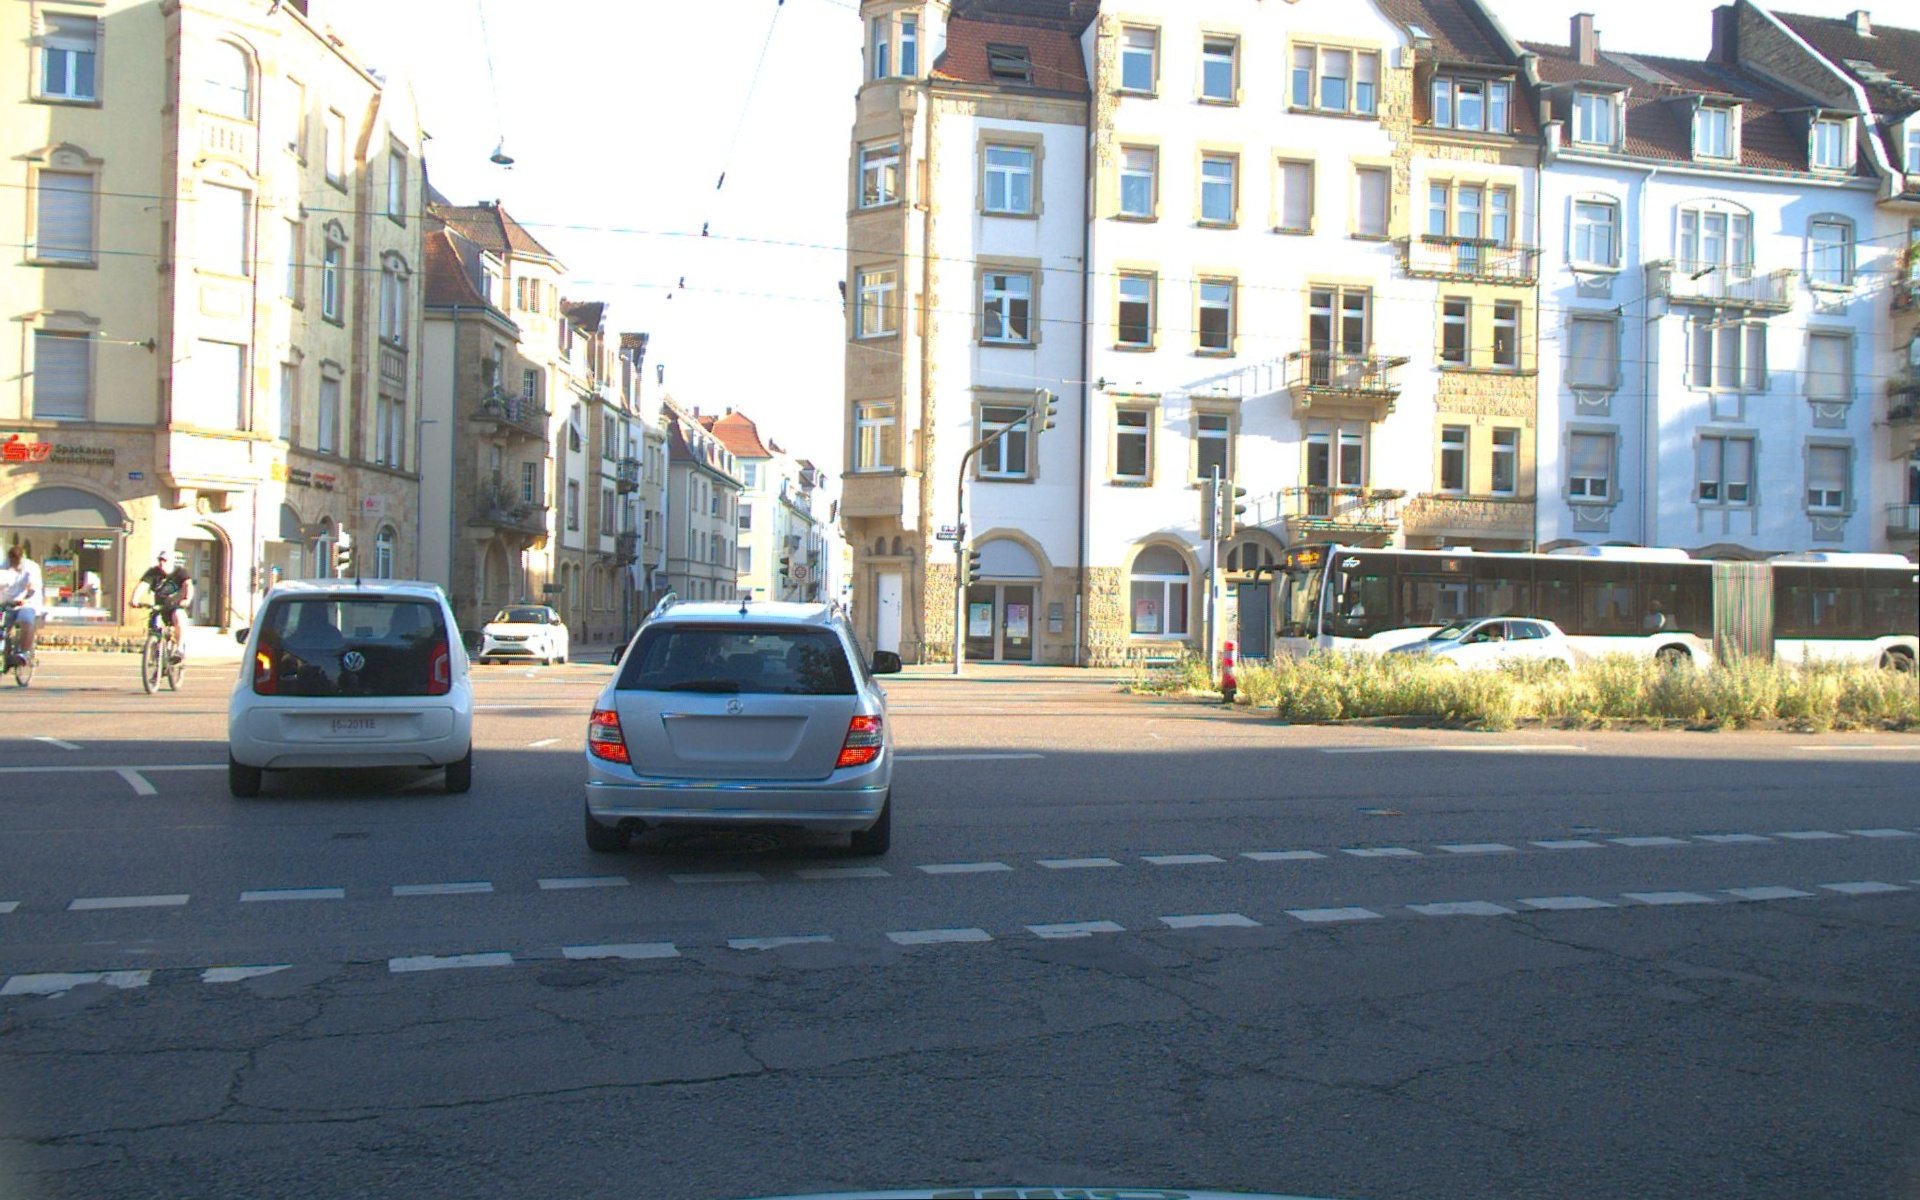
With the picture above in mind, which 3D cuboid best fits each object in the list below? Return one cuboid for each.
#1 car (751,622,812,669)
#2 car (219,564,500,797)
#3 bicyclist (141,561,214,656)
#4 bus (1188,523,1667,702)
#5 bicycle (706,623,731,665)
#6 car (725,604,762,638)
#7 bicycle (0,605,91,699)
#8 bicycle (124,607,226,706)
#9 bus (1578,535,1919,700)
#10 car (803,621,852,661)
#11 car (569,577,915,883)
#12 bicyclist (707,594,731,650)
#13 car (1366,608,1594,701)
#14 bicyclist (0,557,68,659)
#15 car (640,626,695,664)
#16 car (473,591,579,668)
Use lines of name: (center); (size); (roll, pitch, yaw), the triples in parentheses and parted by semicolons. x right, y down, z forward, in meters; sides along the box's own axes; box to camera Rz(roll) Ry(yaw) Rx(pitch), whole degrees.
car: (-6.584, 1.656, 61.345); (1.793, 1.644, 3.999); (2, -1, -1)
car: (-4.656, 0.552, 12.780); (1.707, 1.506, 3.790); (2, -1, -21)
bicyclist: (-9.952, 0.112, 21.054); (0.599, 1.178, 0.766); (2, -1, -10)
bus: (10.143, 0.335, 36.127); (9.697, 3.433, 3.265); (2, -1, -13)
bicycle: (-6.684, 1.200, 45.712); (0.608, 1.124, 2.547); (2, -1, -9)
car: (-12.038, 1.175, 92.120); (1.794, 1.777, 3.996); (2, -1, -5)
bicycle: (-11.919, 0.635, 21.126); (0.639, 1.124, 2.547); (2, -1, -9)
bicycle: (-9.980, 0.696, 21.089); (0.639, 1.124, 1.920); (2, 1, -9)
bus: (20.606, 0.528, 38.680); (11.733, 3.433, 3.254); (2, -1, -14)
car: (-6.157, 1.898, 77.281); (1.792, 1.736, 4.000); (2, -1, 1)
car: (-1.235, 0.690, 10.462); (1.698, 1.503, 4.168); (2, -1, -4)
bicyclist: (-6.650, 0.612, 45.660); (0.599, 1.520, 0.766); (2, -1, -10)
car: (10.416, 1.085, 33.231); (3.915, 1.713, 1.931); (2, -1, -11)
bicyclist: (-11.900, 0.106, 21.116); (0.646, 1.257, 0.766); (2, -1, -10)
car: (-13.544, 2.082, 76.647); (1.792, 1.644, 3.999); (2, -1, 0)
car: (-10.586, 0.719, 40.602); (1.794, 1.736, 3.995); (2, -1, -5)
